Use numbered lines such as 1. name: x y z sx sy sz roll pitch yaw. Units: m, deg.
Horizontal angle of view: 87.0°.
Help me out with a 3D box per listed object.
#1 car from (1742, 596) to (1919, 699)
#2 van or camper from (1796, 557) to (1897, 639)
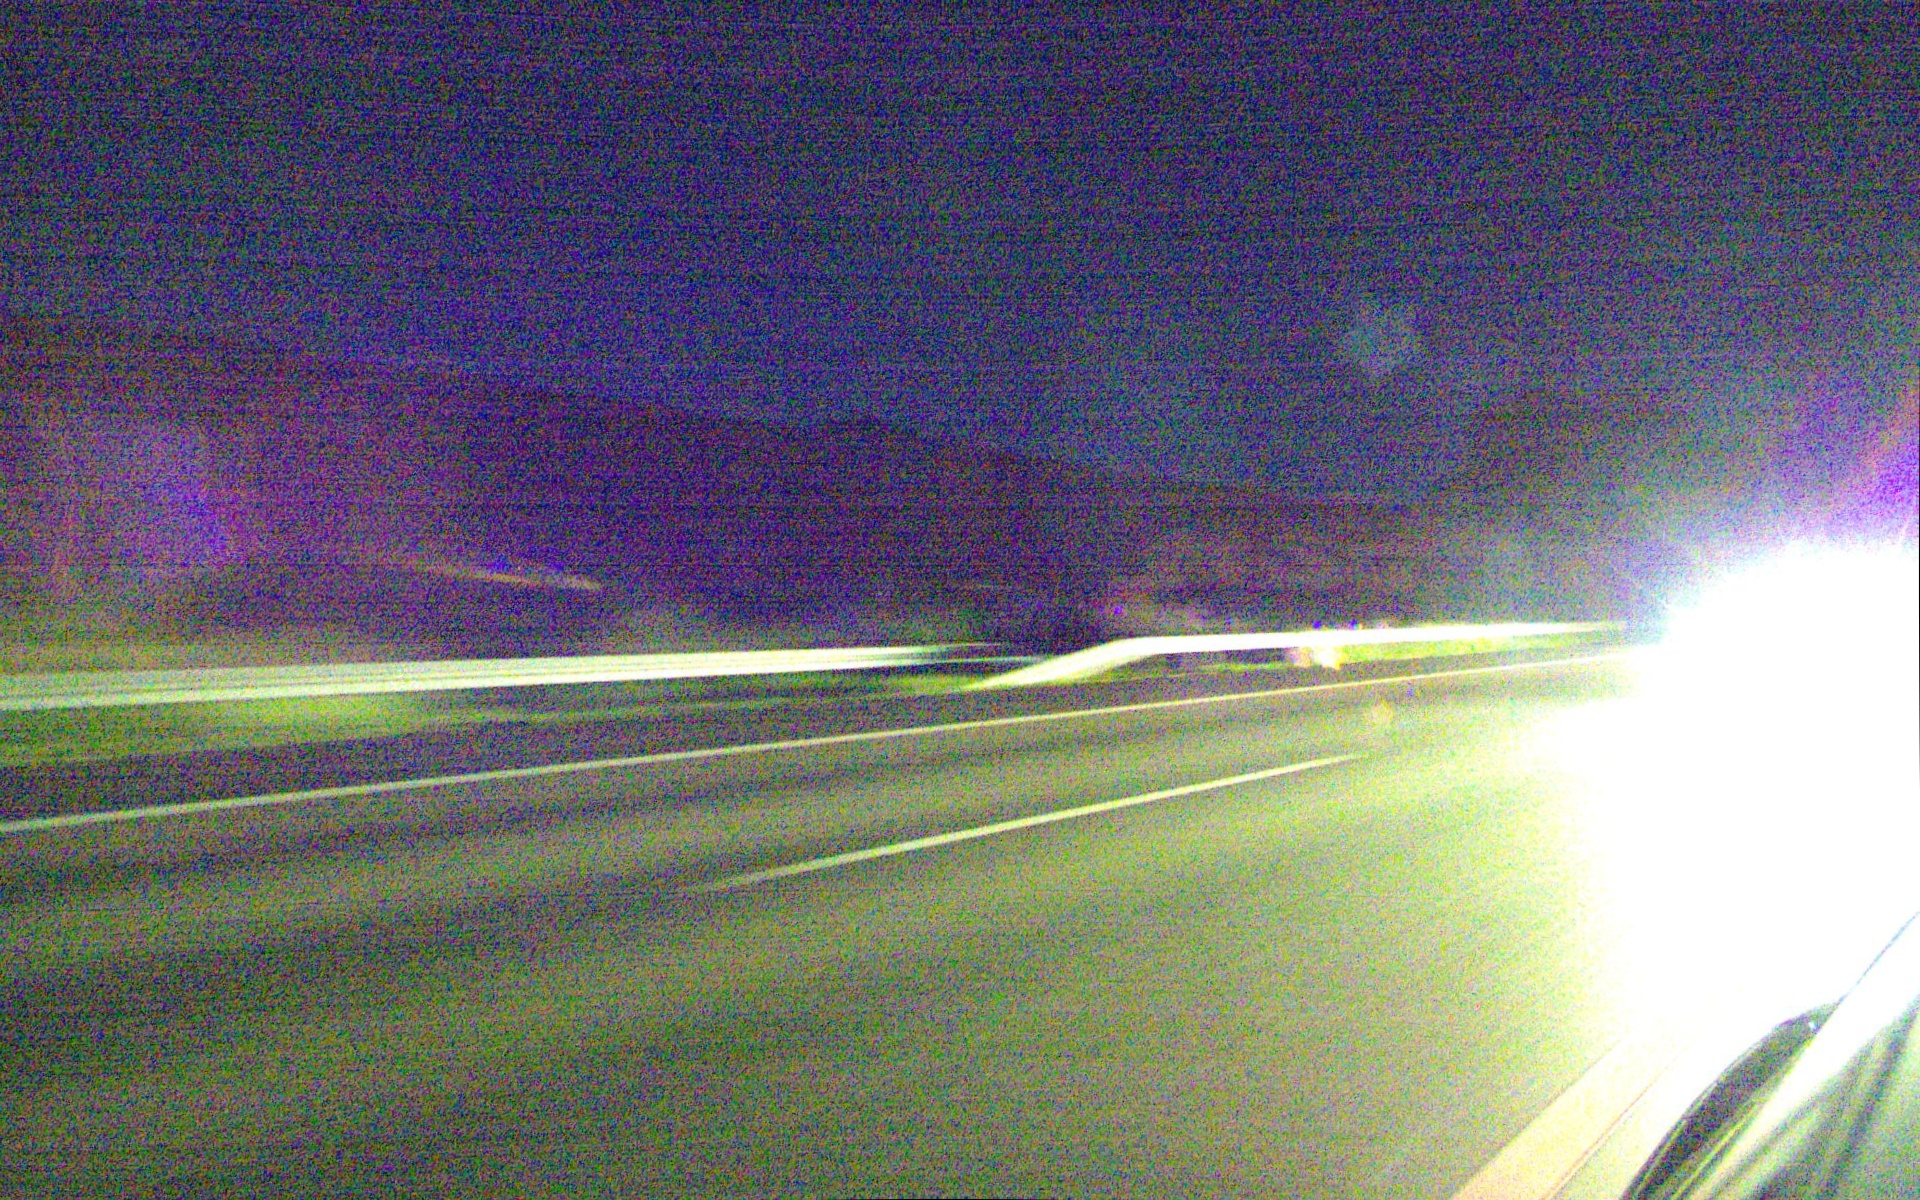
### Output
1. car: 14.103 0.696 16.245 4.151 1.431 1.689 1 -1 -41
2. van or camper: 33.305 -0.083 37.945 6.690 2.807 2.209 0 0 -43
